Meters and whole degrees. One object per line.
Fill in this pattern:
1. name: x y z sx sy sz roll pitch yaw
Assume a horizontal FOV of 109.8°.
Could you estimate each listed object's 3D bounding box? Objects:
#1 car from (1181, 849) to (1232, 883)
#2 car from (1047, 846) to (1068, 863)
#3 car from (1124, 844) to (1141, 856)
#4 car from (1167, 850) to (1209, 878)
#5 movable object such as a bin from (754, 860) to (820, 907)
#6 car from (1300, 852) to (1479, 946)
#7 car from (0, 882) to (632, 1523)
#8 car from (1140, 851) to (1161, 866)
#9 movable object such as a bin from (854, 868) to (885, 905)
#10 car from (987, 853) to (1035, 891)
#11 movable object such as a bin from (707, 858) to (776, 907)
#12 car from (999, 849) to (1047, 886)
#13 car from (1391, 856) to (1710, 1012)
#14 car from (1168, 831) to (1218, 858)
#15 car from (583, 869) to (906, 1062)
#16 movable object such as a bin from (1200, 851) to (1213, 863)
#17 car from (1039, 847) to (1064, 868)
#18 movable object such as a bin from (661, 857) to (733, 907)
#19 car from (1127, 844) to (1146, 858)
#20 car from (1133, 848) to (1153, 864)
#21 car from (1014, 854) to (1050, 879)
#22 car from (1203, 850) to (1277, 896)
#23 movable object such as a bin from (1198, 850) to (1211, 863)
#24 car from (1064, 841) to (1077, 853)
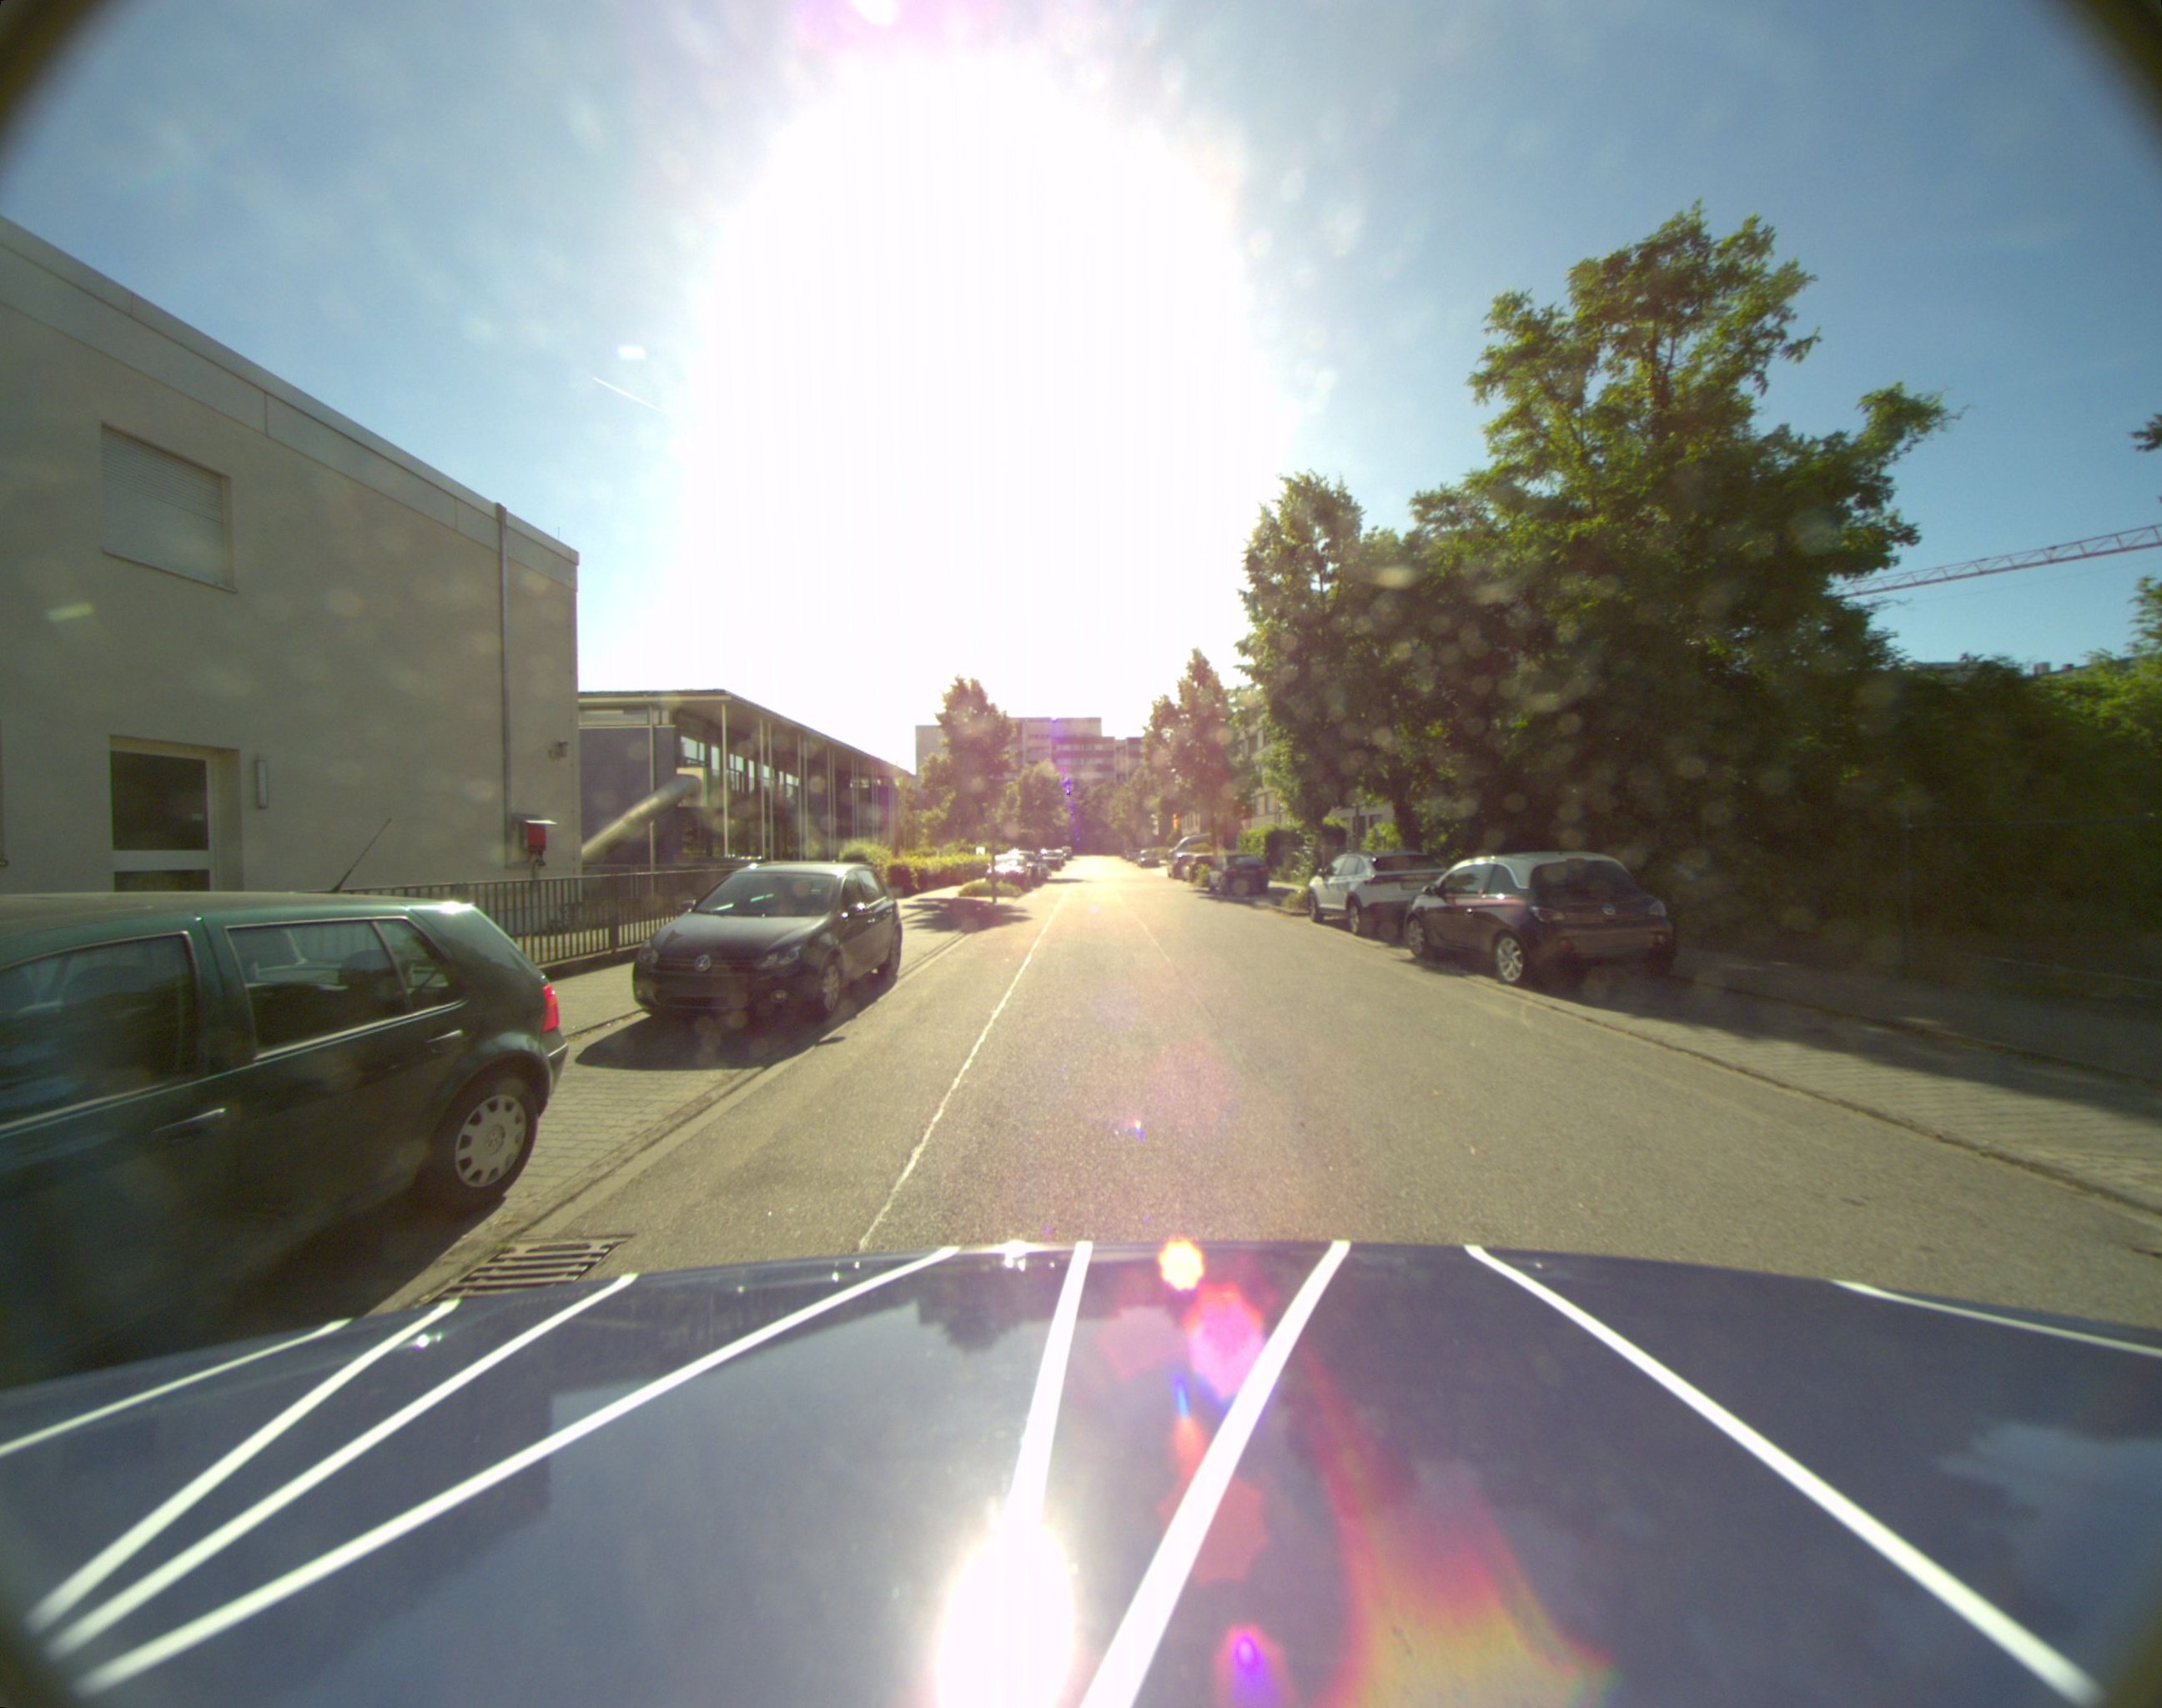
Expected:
1. car: 6.155 0.558 37.685 1.845 1.465 4.026 -3 1 1
2. car: -2.314 0.035 74.450 1.823 1.459 3.841 2 2 0
3. car: 6.849 -0.556 101.787 1.795 1.509 3.888 -2 1 -2
4. car: 6.136 0.537 43.916 1.845 1.465 4.099 -3 1 1
5. movable object such as a bin: -9.035 0.880 23.436 1.369 1.350 1.631 -1 1 2
6. car: 5.769 0.751 14.785 1.845 1.465 4.001 -3 1 1
7. car: -3.501 0.930 2.105 1.751 1.414 4.423 -1 1 1
8. car: 6.131 0.382 67.480 1.631 1.240 3.562 -1 0 1
9. movable object such as a bin: -6.502 0.991 23.415 0.633 1.064 0.979 -1 1 0
10. car: -2.904 0.727 32.314 1.679 1.495 3.846 -1 0 0
11. movable object such as a bin: -10.466 0.851 23.509 1.369 1.440 1.631 -1 1 2
12. car: -2.824 0.612 37.928 1.905 1.673 4.410 1 1 1
13. car: 5.539 0.823 9.555 1.722 1.465 3.545 -3 1 -1
14. car: 12.295 -1.044 83.826 5.153 2.886 2.013 -1 1 -3
15. car: -3.272 0.969 8.350 1.788 1.507 3.999 0 0 -1
16. movable object such as a bin: 10.732 0.260 64.959 0.862 1.032 0.677 -4 1 -2
17. car: -2.411 0.256 63.341 1.823 1.638 4.488 2 1 0
18. movable object such as a bin: -11.882 0.845 23.570 1.333 1.440 1.631 -1 1 2
19. car: 6.777 -0.395 92.885 1.795 1.590 3.888 -2 1 -2
20. car: 5.964 0.154 73.356 1.631 1.515 3.562 0 0 0
21. car: -2.869 0.699 45.071 1.968 1.312 4.774 1 1 -3
22. car: 5.803 0.651 28.229 1.845 1.465 4.359 -3 1 1
23. movable object such as a bin: 10.658 0.242 65.699 0.921 1.032 0.681 -4 1 -2
24. car: -1.503 -0.998 109.083 1.644 1.459 3.702 2 2 0
